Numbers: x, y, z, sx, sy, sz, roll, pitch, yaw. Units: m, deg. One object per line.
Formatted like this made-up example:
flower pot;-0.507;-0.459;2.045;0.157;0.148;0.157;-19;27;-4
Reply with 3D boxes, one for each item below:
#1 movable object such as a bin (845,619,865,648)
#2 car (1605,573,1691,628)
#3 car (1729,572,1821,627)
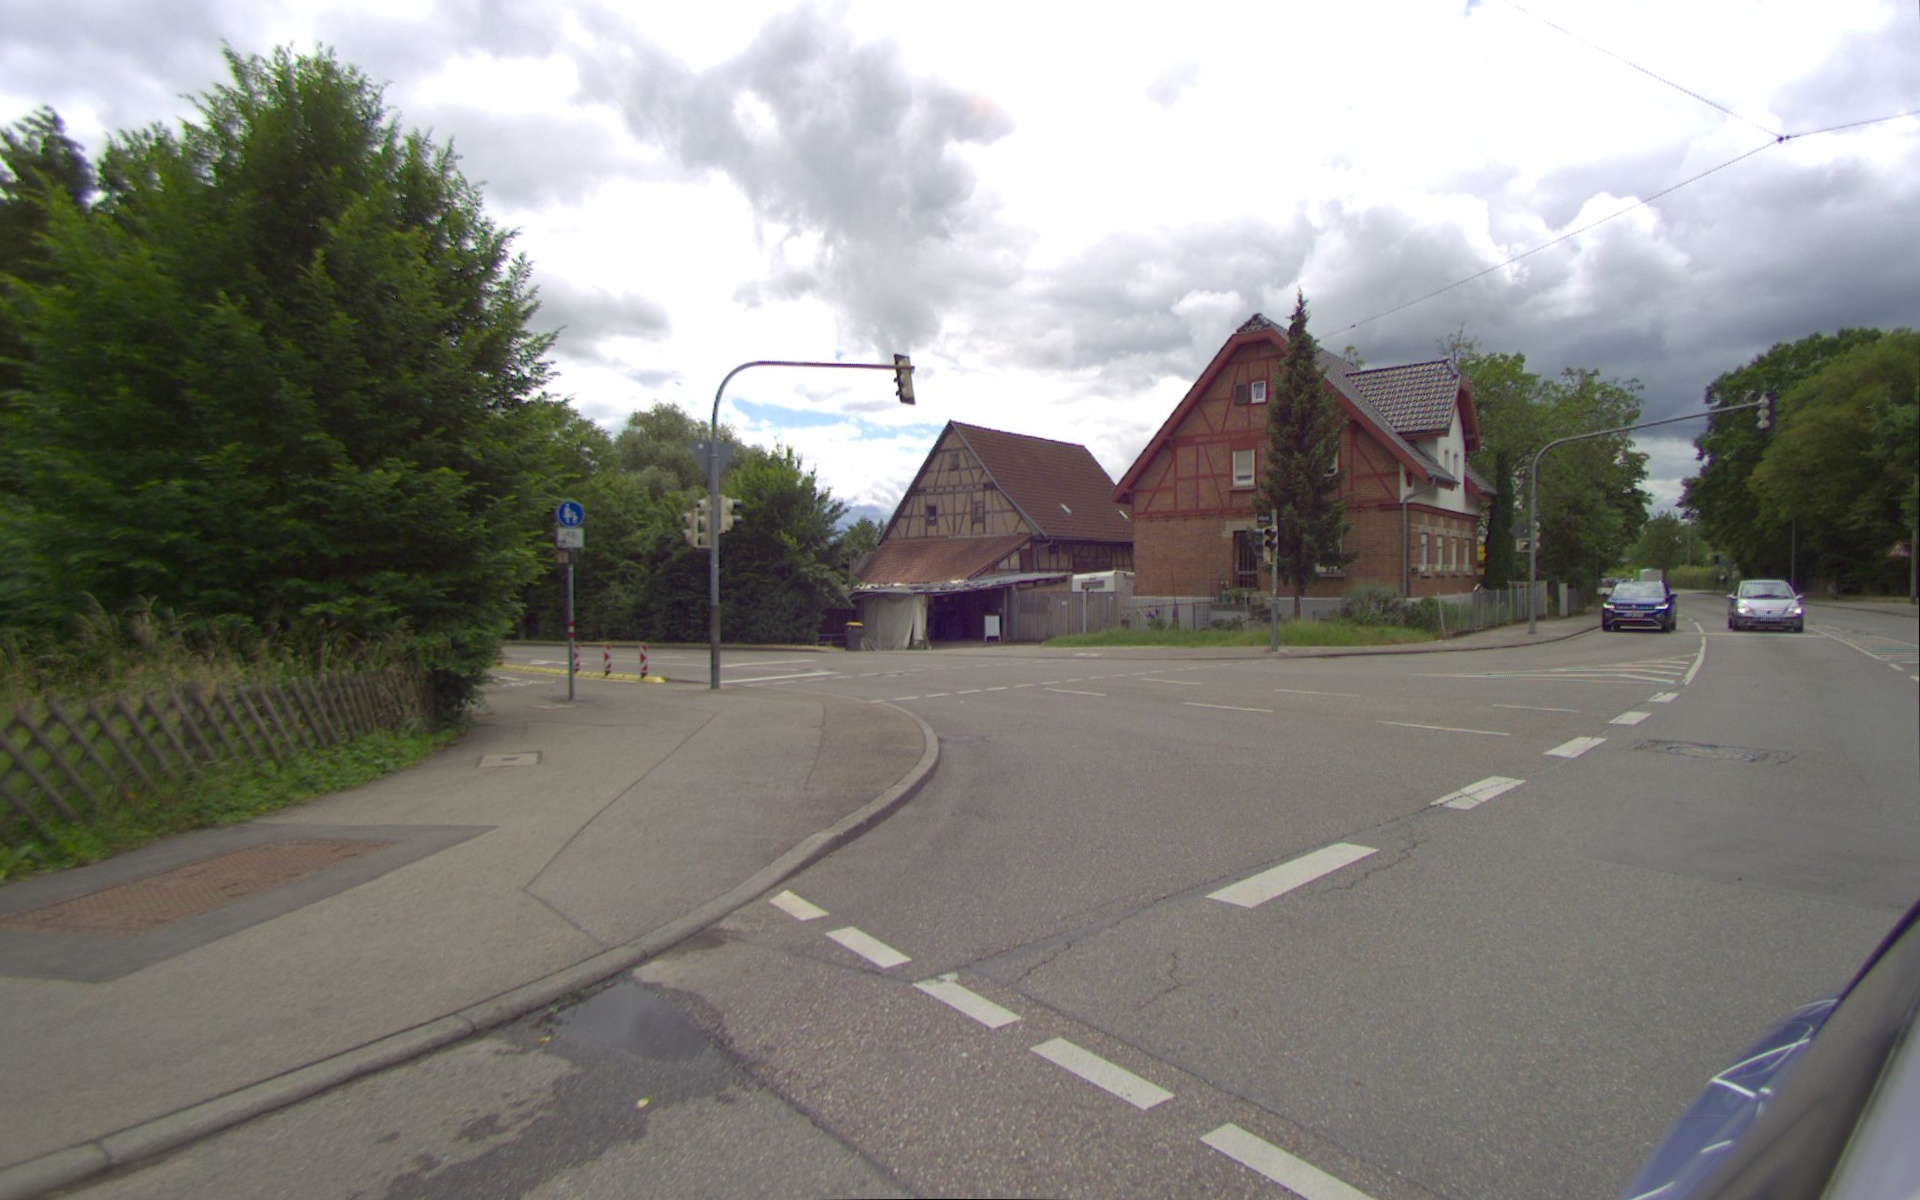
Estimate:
movable object such as a bin;-3.469;1.117;33.455;0.581;0.918;0.603;-1;1;-10
car;21.461;-0.026;31.499;1.918;1.537;3.945;0;1;39
car;25.281;-0.044;31.506;1.767;1.537;3.518;-2;1;32
